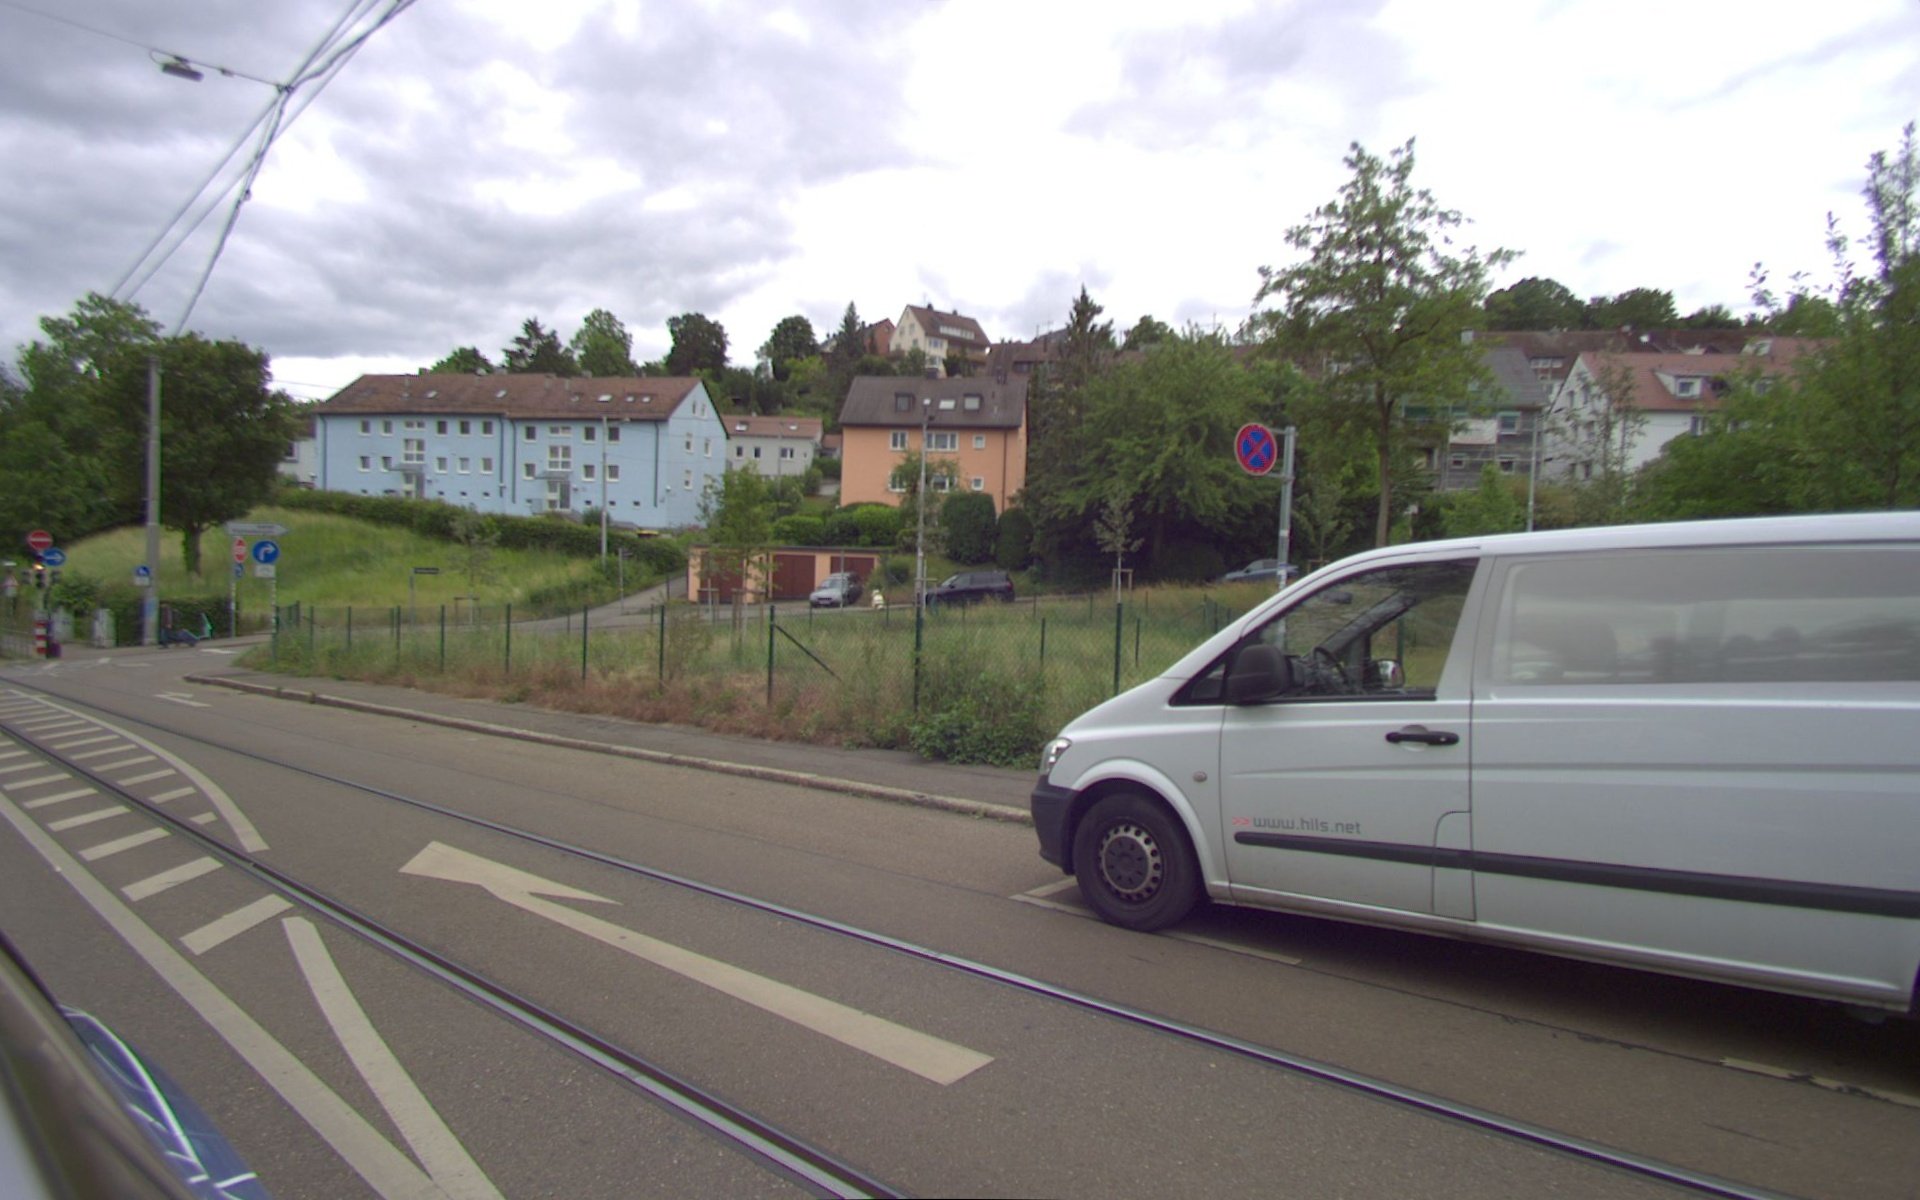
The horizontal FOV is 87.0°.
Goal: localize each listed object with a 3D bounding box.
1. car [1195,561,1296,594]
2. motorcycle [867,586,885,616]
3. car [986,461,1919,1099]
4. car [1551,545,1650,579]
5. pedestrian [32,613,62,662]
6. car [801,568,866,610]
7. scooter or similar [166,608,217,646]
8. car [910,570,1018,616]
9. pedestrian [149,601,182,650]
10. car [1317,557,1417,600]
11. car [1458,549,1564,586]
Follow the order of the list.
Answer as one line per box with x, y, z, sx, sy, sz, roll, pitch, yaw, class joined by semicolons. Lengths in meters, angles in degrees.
13.400;-1.060;47.598;4.065;1.523;1.987;-1;1;-10;car
-3.664;0.020;44.141;0.513;1.165;1.710;-1;5;-14;motorcycle
2.668;0.565;4.493;4.881;1.896;2.015;0;-2;40;car
32.680;-1.922;51.695;4.065;1.670;1.841;-1;1;-10;car
-30.807;1.249;34.151;0.742;1.586;0.758;-1;1;-42;pedestrian
-6.038;-0.573;48.927;1.976;1.624;4.871;0;6;7;car
-29.107;0.998;38.332;0.418;1.298;1.394;0;5;41;scooter or similar
0.132;-0.342;44.917;4.378;1.702;1.982;-4;2;-11;car
-28.801;0.912;36.693;0.887;1.763;0.744;-1;1;-36;pedestrian
19.769;-1.055;49.189;4.064;2.029;1.987;-1;1;-11;car
27.565;-1.613;50.678;4.411;1.802;1.906;-1;1;-10;car
